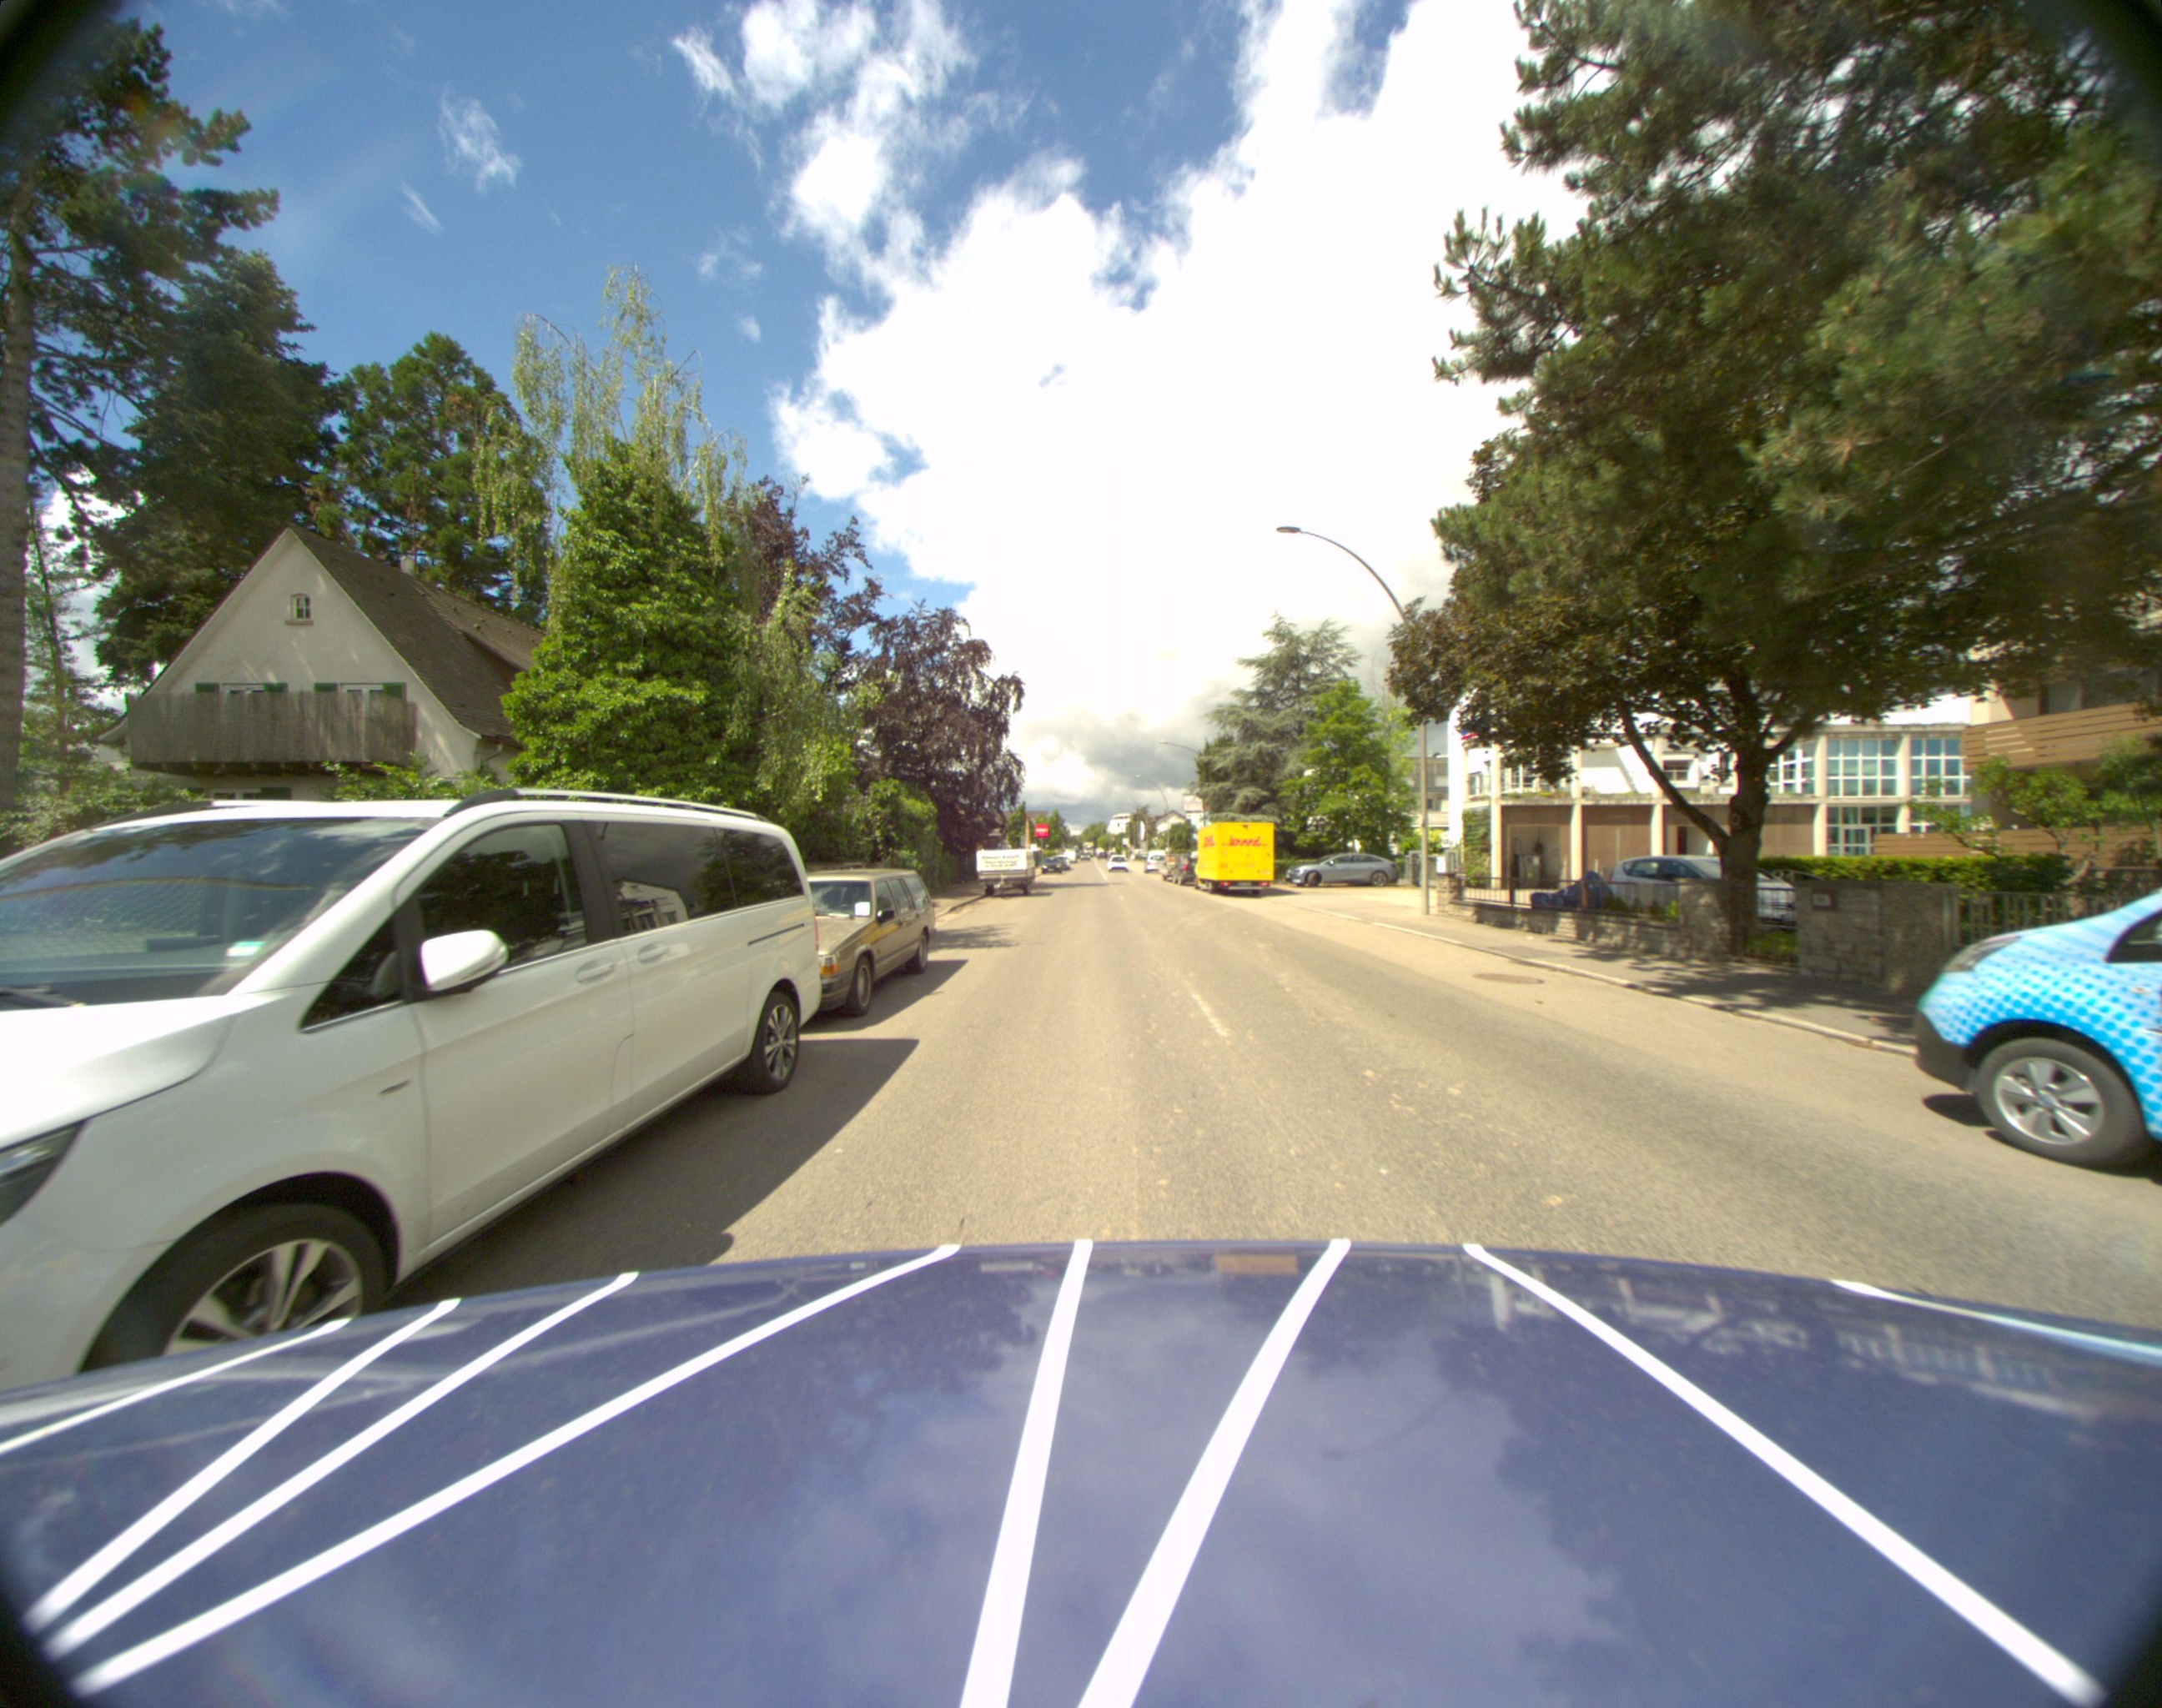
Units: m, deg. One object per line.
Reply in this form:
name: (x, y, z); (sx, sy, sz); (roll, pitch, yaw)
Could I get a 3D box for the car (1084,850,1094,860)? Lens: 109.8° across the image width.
car: (1.541, 0.208, 145.956); (1.998, 1.802, 4.000); (-1, 0, 1)

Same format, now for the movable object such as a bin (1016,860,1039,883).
movable object such as a bin: (-3.146, 1.037, 44.986); (1.115, 1.283, 1.357); (1, 1, 5)

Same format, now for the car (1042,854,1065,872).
car: (-2.363, 0.738, 65.841); (1.759, 1.455, 4.000); (-1, 0, 0)

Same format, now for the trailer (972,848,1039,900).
trailer: (-2.832, 0.706, 29.617); (1.998, 1.812, 4.764); (-2, 0, 1)

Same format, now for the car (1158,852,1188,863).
car: (13.355, 0.463, 110.597); (4.046, 1.485, 1.675); (1, 1, 0)

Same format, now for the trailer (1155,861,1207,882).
trailer: (5.959, 1.017, 46.253); (2.324, 0.985, 7.458); (1, 0, 1)

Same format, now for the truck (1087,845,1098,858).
truck: (2.984, -0.784, 199.379); (2.880, 3.290, 8.606); (-2, 1, 1)

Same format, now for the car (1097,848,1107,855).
car: (5.836, -0.723, 209.175); (2.384, 2.002, 6.383); (1, 0, -1)

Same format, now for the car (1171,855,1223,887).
car: (6.010, 0.858, 39.935); (1.998, 1.445, 4.812); (3, 0, 1)

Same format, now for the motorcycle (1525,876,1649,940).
motorcycle: (9.950, 1.040, 15.019); (1.872, 1.159, 0.826); (0, 1, 17)

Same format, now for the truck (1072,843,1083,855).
truck: (-0.822, -1.144, 175.800); (2.410, 2.722, 6.640); (-2, 1, 1)

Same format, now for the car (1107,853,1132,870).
car: (3.435, 0.640, 68.548); (1.987, 1.412, 3.999); (1, 0, -2)

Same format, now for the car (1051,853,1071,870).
car: (-2.024, 0.749, 77.679); (1.811, 1.566, 4.188); (-2, 0, 1)

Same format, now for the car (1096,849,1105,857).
car: (4.782, -0.273, 182.835); (1.999, 1.852, 3.835); (1, 0, -1)

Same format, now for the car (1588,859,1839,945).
car: (13.097, 0.908, 16.124); (1.772, 1.534, 4.086); (0, 0, -3)

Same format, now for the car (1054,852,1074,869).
car: (-1.812, 0.684, 82.468); (1.835, 1.608, 4.000); (-3, 0, 2)

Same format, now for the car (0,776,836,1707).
car: (-2.970, 0.817, 3.491); (1.910, 1.874, 5.389); (-2, 0, 0)

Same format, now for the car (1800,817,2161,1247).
car: (5.566, 0.800, 2.438); (1.838, 1.842, 4.896); (3, 0, 1)

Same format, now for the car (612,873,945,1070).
car: (-2.995, 1.059, 8.896); (1.759, 1.442, 4.994); (-2, 0, 1)

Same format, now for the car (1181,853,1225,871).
car: (11.965, 0.768, 74.840); (3.997, 1.739, 2.000); (1, 1, 1)

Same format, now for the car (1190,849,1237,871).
car: (12.134, 0.539, 69.688); (3.997, 1.866, 2.000); (1, 1, 1)

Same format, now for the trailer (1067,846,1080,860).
trailer: (-1.220, -0.158, 124.184); (2.044, 2.214, 5.079); (1, 0, 1)

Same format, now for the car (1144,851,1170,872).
car: (6.370, 0.606, 64.111); (1.809, 1.666, 4.127); (2, 0, 1)

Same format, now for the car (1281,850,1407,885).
car: (11.848, 0.582, 34.496); (5.021, 1.543, 1.972); (0, 1, -1)

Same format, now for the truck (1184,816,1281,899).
truck: (6.179, 0.109, 32.219); (2.329, 2.986, 7.817); (2, 0, -1)

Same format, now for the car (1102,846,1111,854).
car: (5.433, -0.809, 160.680); (1.859, 1.686, 4.001); (0, 0, 4)
